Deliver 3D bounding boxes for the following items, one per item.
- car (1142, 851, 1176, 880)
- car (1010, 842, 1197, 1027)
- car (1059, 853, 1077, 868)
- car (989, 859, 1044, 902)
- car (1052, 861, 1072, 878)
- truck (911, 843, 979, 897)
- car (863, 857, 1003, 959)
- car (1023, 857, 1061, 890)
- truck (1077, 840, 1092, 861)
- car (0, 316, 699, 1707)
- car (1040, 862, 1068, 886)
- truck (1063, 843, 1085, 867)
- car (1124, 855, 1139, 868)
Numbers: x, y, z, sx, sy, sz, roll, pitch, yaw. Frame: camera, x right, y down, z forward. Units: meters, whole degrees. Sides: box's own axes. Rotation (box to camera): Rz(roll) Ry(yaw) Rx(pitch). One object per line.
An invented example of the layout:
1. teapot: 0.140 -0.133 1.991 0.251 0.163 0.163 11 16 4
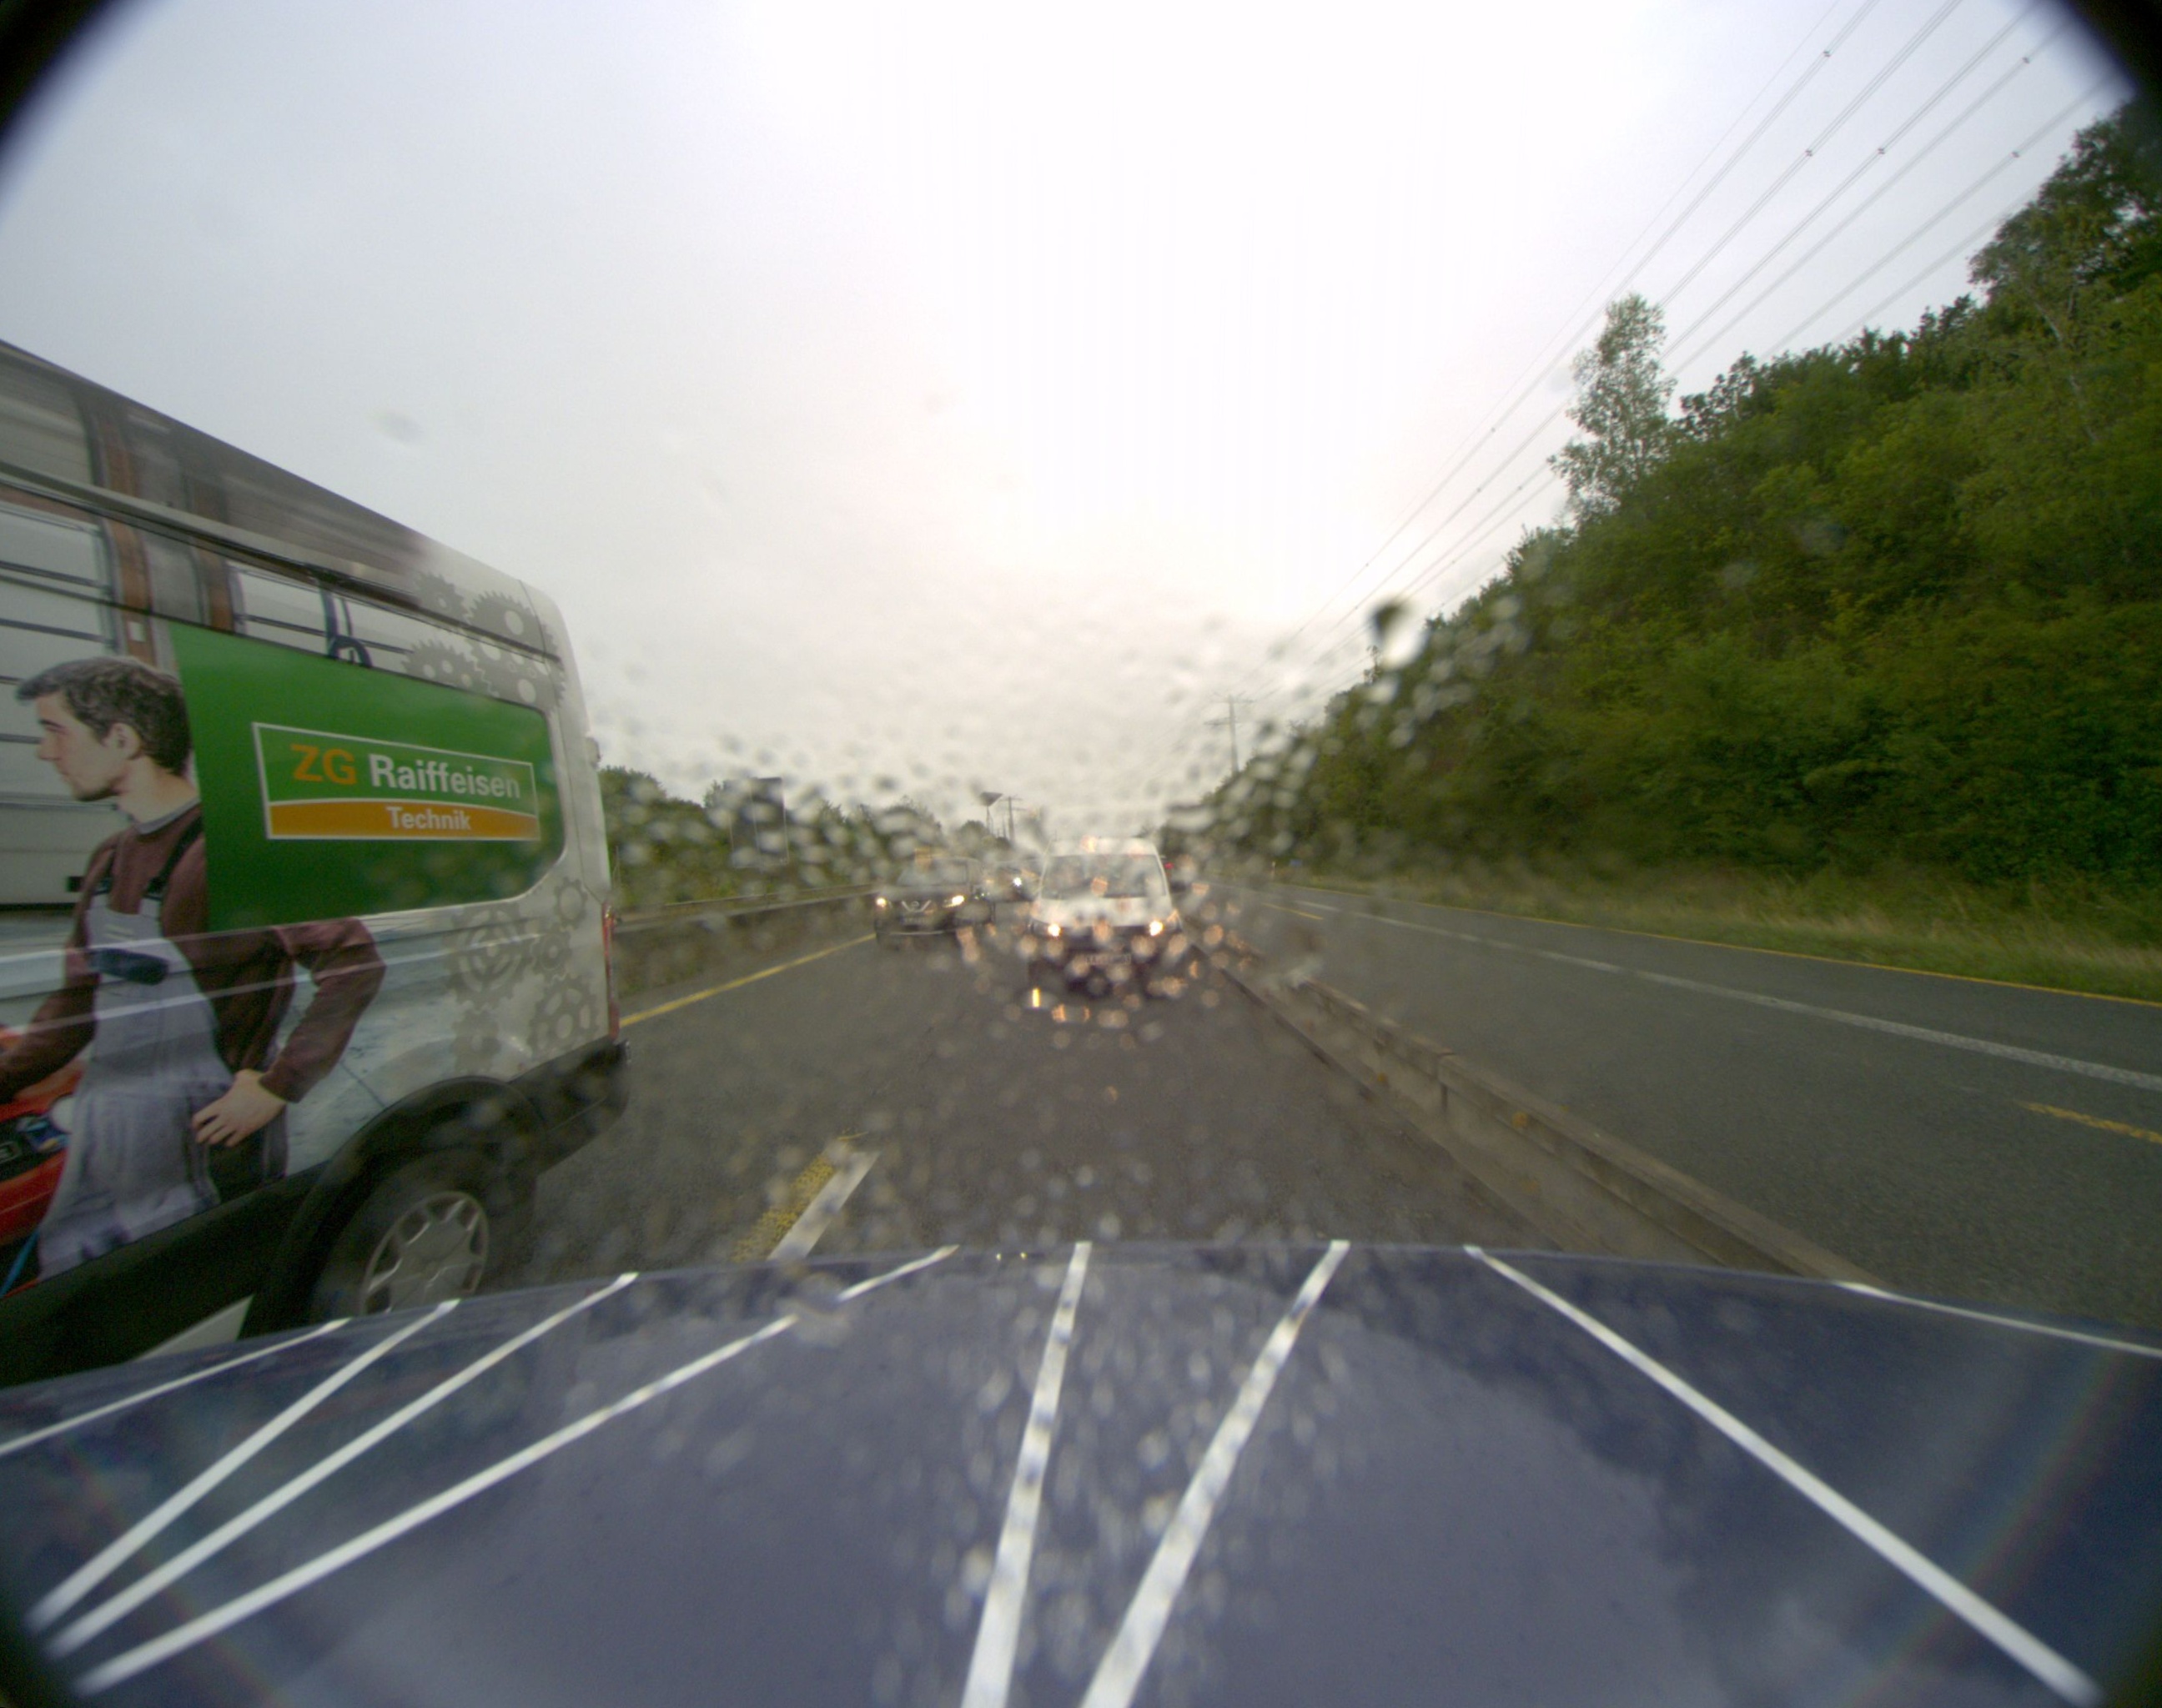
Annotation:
1. car: 4.729 0.668 46.494 1.814 1.623 4.118 -2 0 2
2. car: 0.232 0.782 9.868 1.784 1.775 4.697 -2 0 0
3. car: -1.427 0.690 83.383 1.784 1.482 4.123 -2 0 0
4. car: -2.495 1.016 30.374 1.784 1.482 4.123 -2 0 0
5. car: -1.753 1.450 71.560 1.784 1.482 4.123 -2 0 0
6. truck: -9.437 0.988 53.955 2.619 3.404 9.576 -2 0 2
7. car: -2.843 0.957 15.666 1.894 1.665 4.640 -2 0 0
8. car: -2.066 1.017 41.011 1.784 1.589 4.123 -2 0 0
9. truck: 0.638 -0.693 145.642 2.619 3.868 9.574 -2 1 0
10. car: -2.979 0.408 0.539 2.150 2.660 6.117 -2 1 1
11. car: -1.838 1.359 53.479 1.784 1.482 4.123 -2 0 0
12. truck: -0.994 0.093 112.314 2.619 3.404 9.576 -2 0 2
13. car: 6.718 1.008 101.662 1.799 1.546 4.000 -2 0 1
